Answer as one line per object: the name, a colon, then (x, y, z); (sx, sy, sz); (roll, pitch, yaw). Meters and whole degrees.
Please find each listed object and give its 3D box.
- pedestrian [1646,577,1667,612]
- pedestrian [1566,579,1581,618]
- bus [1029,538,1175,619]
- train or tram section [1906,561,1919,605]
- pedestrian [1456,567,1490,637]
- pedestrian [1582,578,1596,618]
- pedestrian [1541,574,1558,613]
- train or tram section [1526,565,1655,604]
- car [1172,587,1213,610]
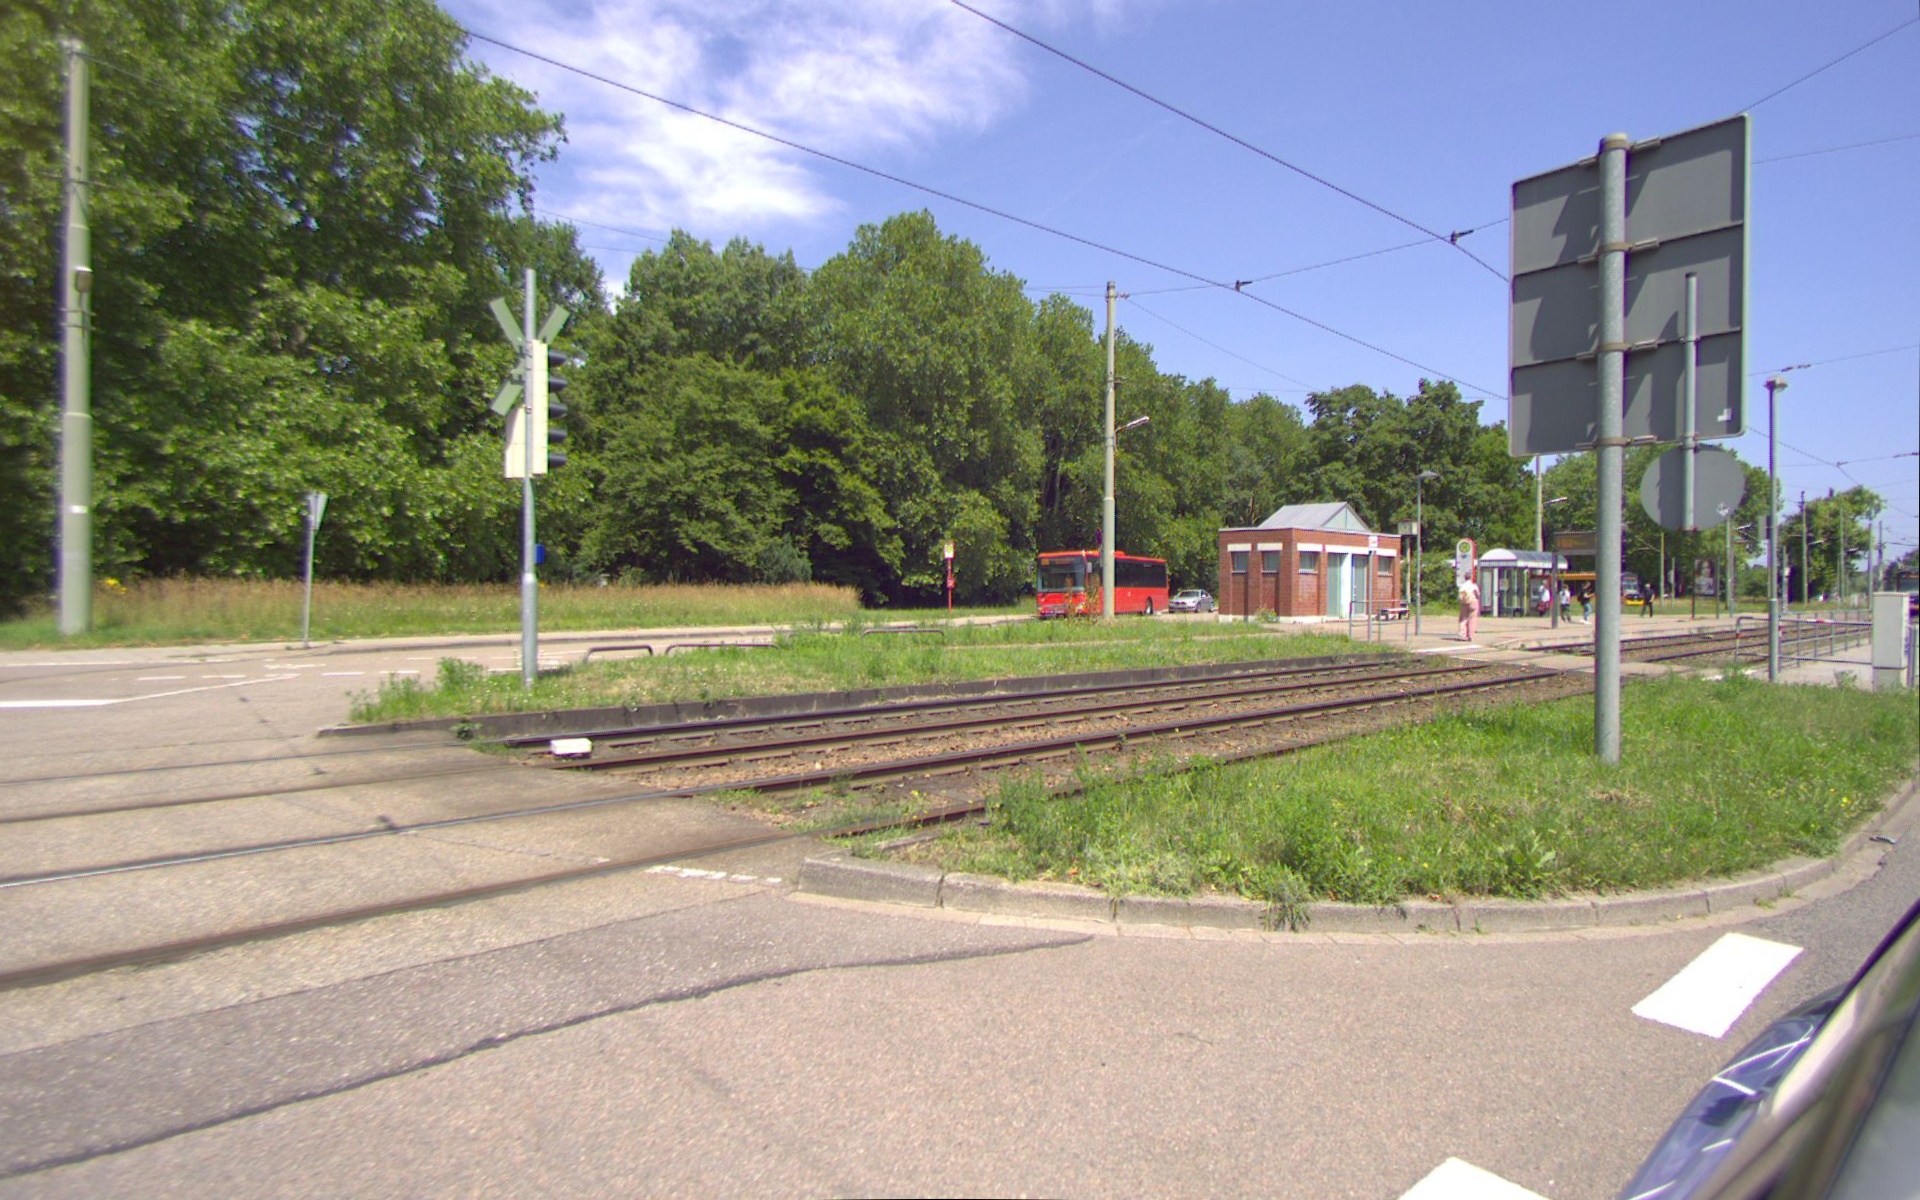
pedestrian: (35.901, -0.314, 52.179); (0.646, 1.786, 0.707); (0, 1, -39)
pedestrian: (25.877, -0.072, 42.695); (0.474, 1.617, 0.361); (-1, 0, -38)
bus: (7.337, -1.011, 49.929); (2.744, 3.482, 12.317); (-1, 0, 29)
train or tram section: (76.724, -1.288, 79.658); (7.131, 3.364, 2.523); (0, 1, -40)
pedestrian: (13.200, 0.052, 26.052); (0.632, 1.781, 0.806); (-2, 0, 36)
pedestrian: (25.924, -0.081, 41.723); (0.437, 1.667, 0.361); (0, 0, -38)
pedestrian: (27.462, -0.320, 47.146); (0.726, 1.796, 0.382); (-1, 0, -38)
train or tram section: (63.147, -1.475, 101.941); (2.659, 3.695, 13.208); (-1, 0, -11)
car: (14.191, -0.121, 61.675); (1.557, 1.282, 3.964); (1, 1, 26)
